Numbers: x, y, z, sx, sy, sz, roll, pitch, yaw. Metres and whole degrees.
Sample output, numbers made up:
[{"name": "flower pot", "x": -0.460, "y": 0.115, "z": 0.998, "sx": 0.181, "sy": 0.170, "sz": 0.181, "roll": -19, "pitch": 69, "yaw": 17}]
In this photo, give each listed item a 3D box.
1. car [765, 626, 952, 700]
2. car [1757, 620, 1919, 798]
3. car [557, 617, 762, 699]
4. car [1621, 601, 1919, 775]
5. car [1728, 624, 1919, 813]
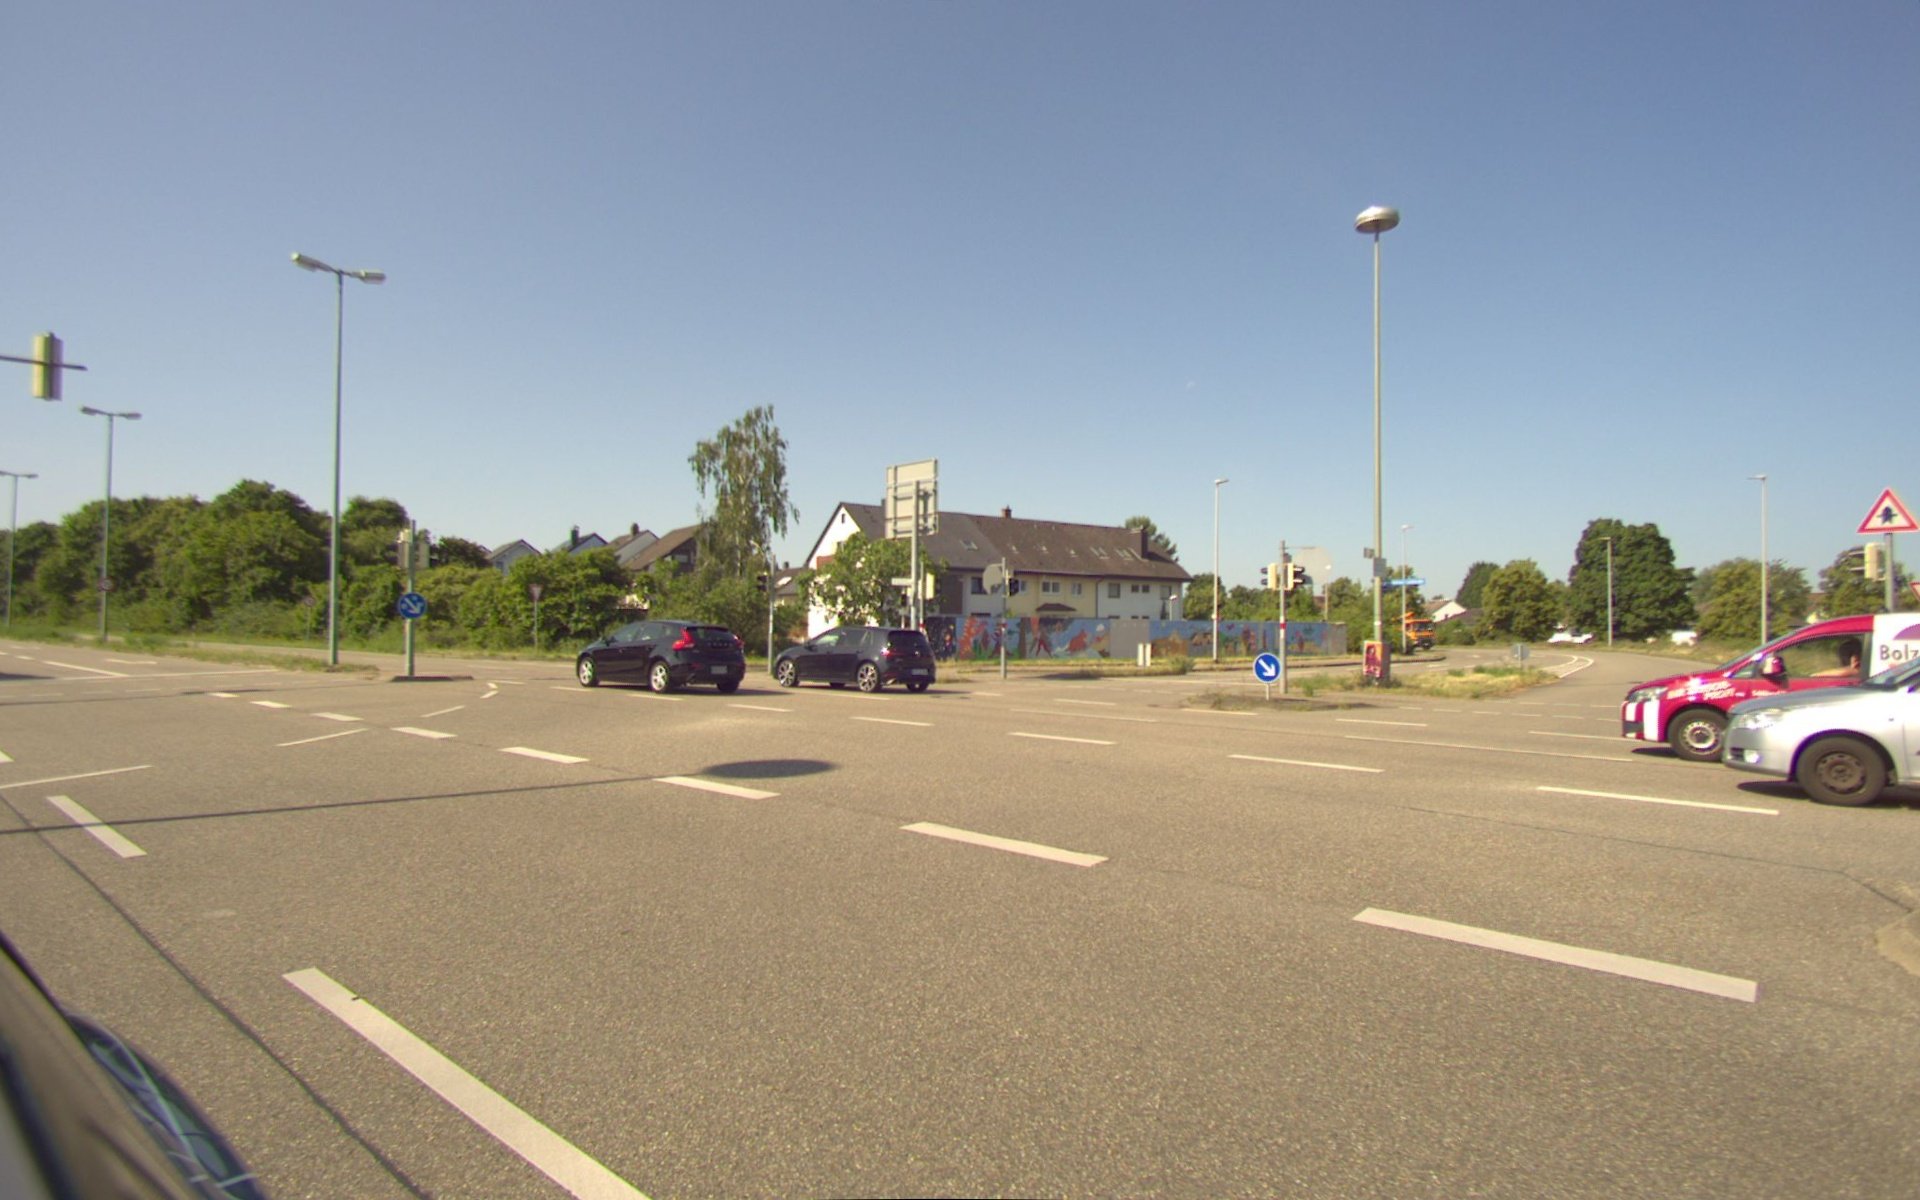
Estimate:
[{"name": "car", "x": -2.340, "y": 1.339, "z": 22.674, "sx": 4.230, "sy": 1.468, "sz": 1.864, "roll": -1, "pitch": -2, "yaw": 43}, {"name": "car", "x": 8.841, "y": 0.872, "z": 8.012, "sx": 3.843, "sy": 1.397, "sz": 1.808, "roll": -1, "pitch": -2, "yaw": 43}, {"name": "car", "x": -6.162, "y": 1.105, "z": 20.536, "sx": 4.329, "sy": 1.468, "sz": 1.961, "roll": -1, "pitch": -2, "yaw": 40}, {"name": "car", "x": 10.020, "y": 0.946, "z": 11.386, "sx": 4.223, "sy": 1.783, "sz": 1.688, "roll": -1, "pitch": -3, "yaw": 38}, {"name": "car", "x": 8.580, "y": 0.945, "z": 8.042, "sx": 3.869, "sy": 1.468, "sz": 1.602, "roll": -1, "pitch": -2, "yaw": 40}]
